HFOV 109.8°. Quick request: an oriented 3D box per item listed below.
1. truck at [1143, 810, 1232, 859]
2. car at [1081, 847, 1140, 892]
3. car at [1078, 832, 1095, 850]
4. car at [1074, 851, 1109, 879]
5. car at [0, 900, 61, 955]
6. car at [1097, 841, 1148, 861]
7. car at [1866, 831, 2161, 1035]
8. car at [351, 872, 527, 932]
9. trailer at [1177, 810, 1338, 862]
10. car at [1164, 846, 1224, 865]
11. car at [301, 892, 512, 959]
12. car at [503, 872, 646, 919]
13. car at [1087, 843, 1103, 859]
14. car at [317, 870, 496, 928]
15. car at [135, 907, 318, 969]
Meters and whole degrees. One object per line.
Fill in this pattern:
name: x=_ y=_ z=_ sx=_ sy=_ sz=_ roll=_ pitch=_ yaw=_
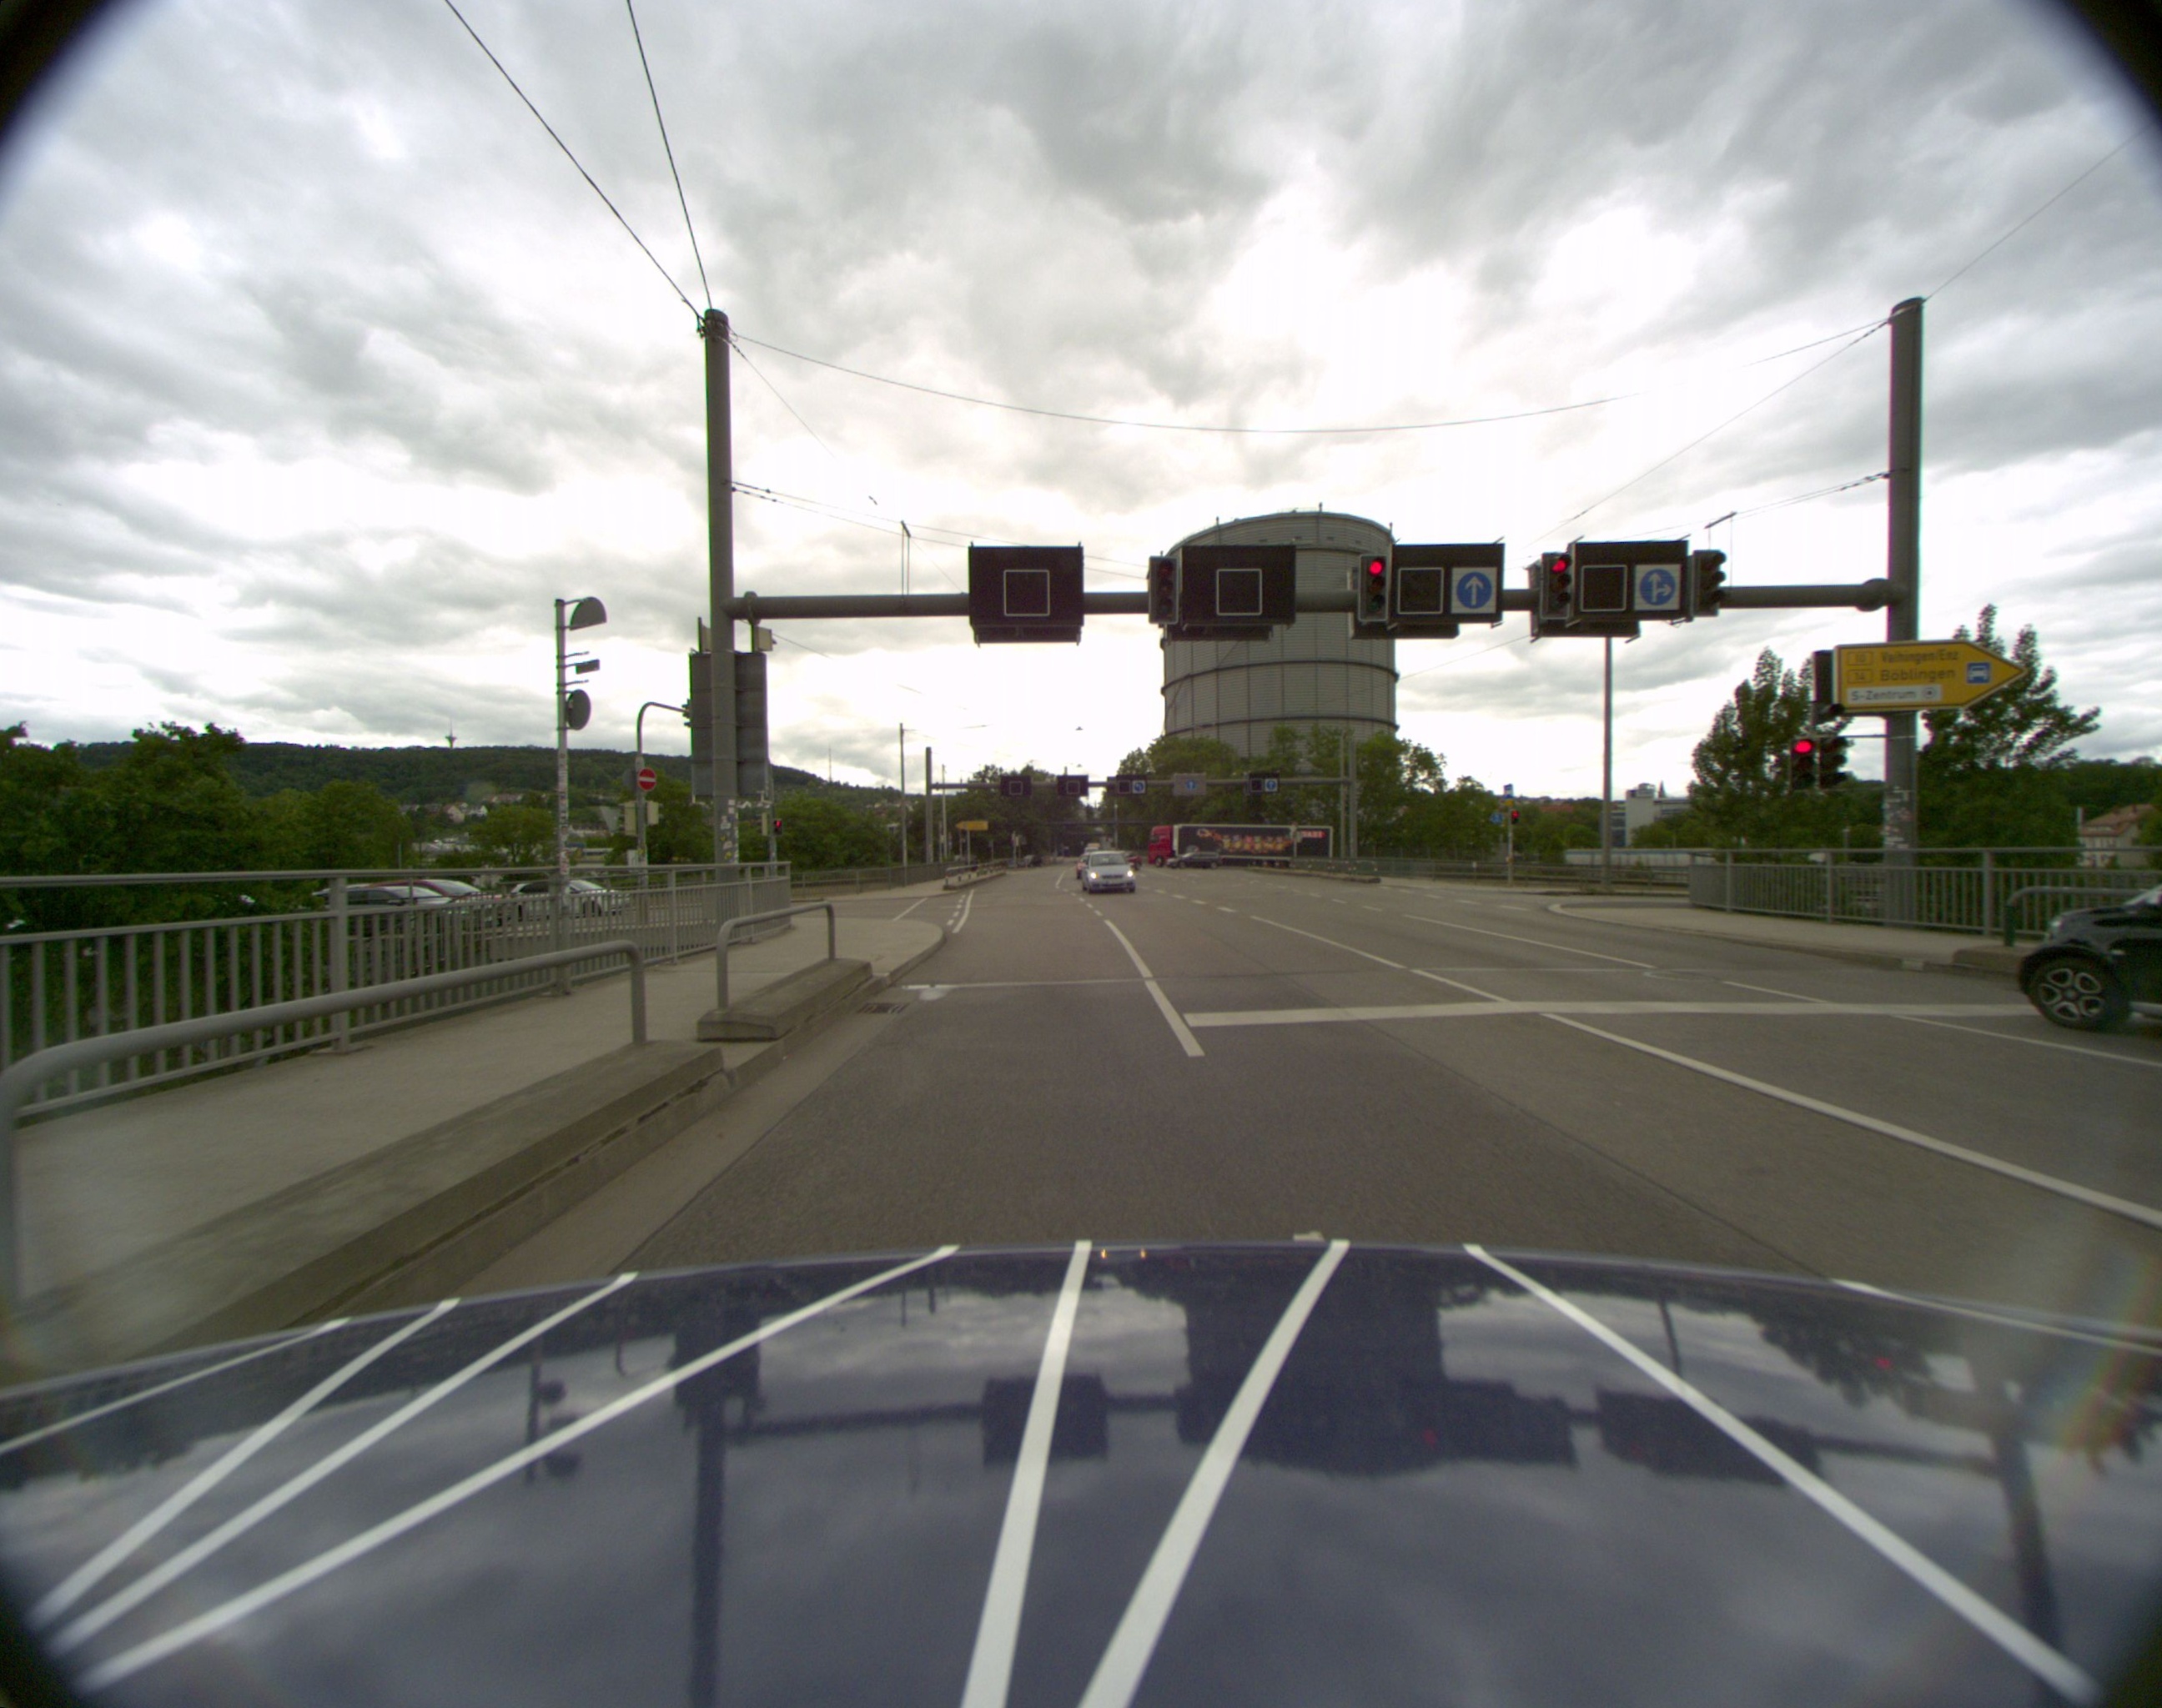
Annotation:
truck: x=9.924 y=-1.803 z=70.774 sx=7.216 sy=4.296 sz=3.678 roll=2 pitch=0 yaw=26
car: x=1.071 y=0.549 z=29.561 sx=1.748 sy=1.594 sz=3.680 roll=-2 pitch=0 yaw=-6
car: x=0.836 y=-1.859 z=110.593 sx=2.331 sy=2.509 sz=4.948 roll=1 pitch=1 yaw=0
car: x=0.647 y=0.583 z=43.202 sx=1.746 sy=1.455 sz=3.955 roll=-1 pitch=1 yaw=3
car: x=-34.051 y=2.334 z=23.010 sx=3.758 sy=1.531 sz=1.695 roll=-3 pitch=1 yaw=-2
car: x=3.117 y=-0.222 z=56.068 sx=1.693 sy=1.412 sz=4.476 roll=-1 pitch=0 yaw=34
car: x=8.861 y=0.583 z=5.769 sx=1.840 sy=1.495 sz=3.871 roll=0 pitch=0 yaw=2
car: x=-20.340 y=1.499 z=24.200 sx=4.006 sy=1.531 sz=1.695 roll=-3 pitch=2 yaw=-2
trailer: x=15.875 y=-1.633 z=68.844 sx=13.754 sy=4.296 sz=3.676 roll=2 pitch=0 yaw=14
car: x=9.247 y=0.121 z=62.198 sx=4.470 sy=1.412 sz=1.695 roll=1 pitch=0 yaw=-13
car: x=-18.705 y=1.956 z=21.224 sx=4.151 sy=1.413 sz=1.695 roll=-3 pitch=2 yaw=-3
car: x=-17.868 y=1.453 z=26.941 sx=3.763 sy=1.306 sz=1.790 roll=-3 pitch=2 yaw=-2
car: x=1.746 y=-0.339 z=96.741 sx=1.933 sy=1.987 sz=4.453 roll=0 pitch=0 yaw=0
car: x=-23.516 y=1.535 z=26.622 sx=4.340 sy=1.610 sz=1.999 roll=-3 pitch=2 yaw=-1
car: x=-26.743 y=2.596 z=23.885 sx=3.621 sy=1.531 sz=1.695 roll=-3 pitch=1 yaw=-2
